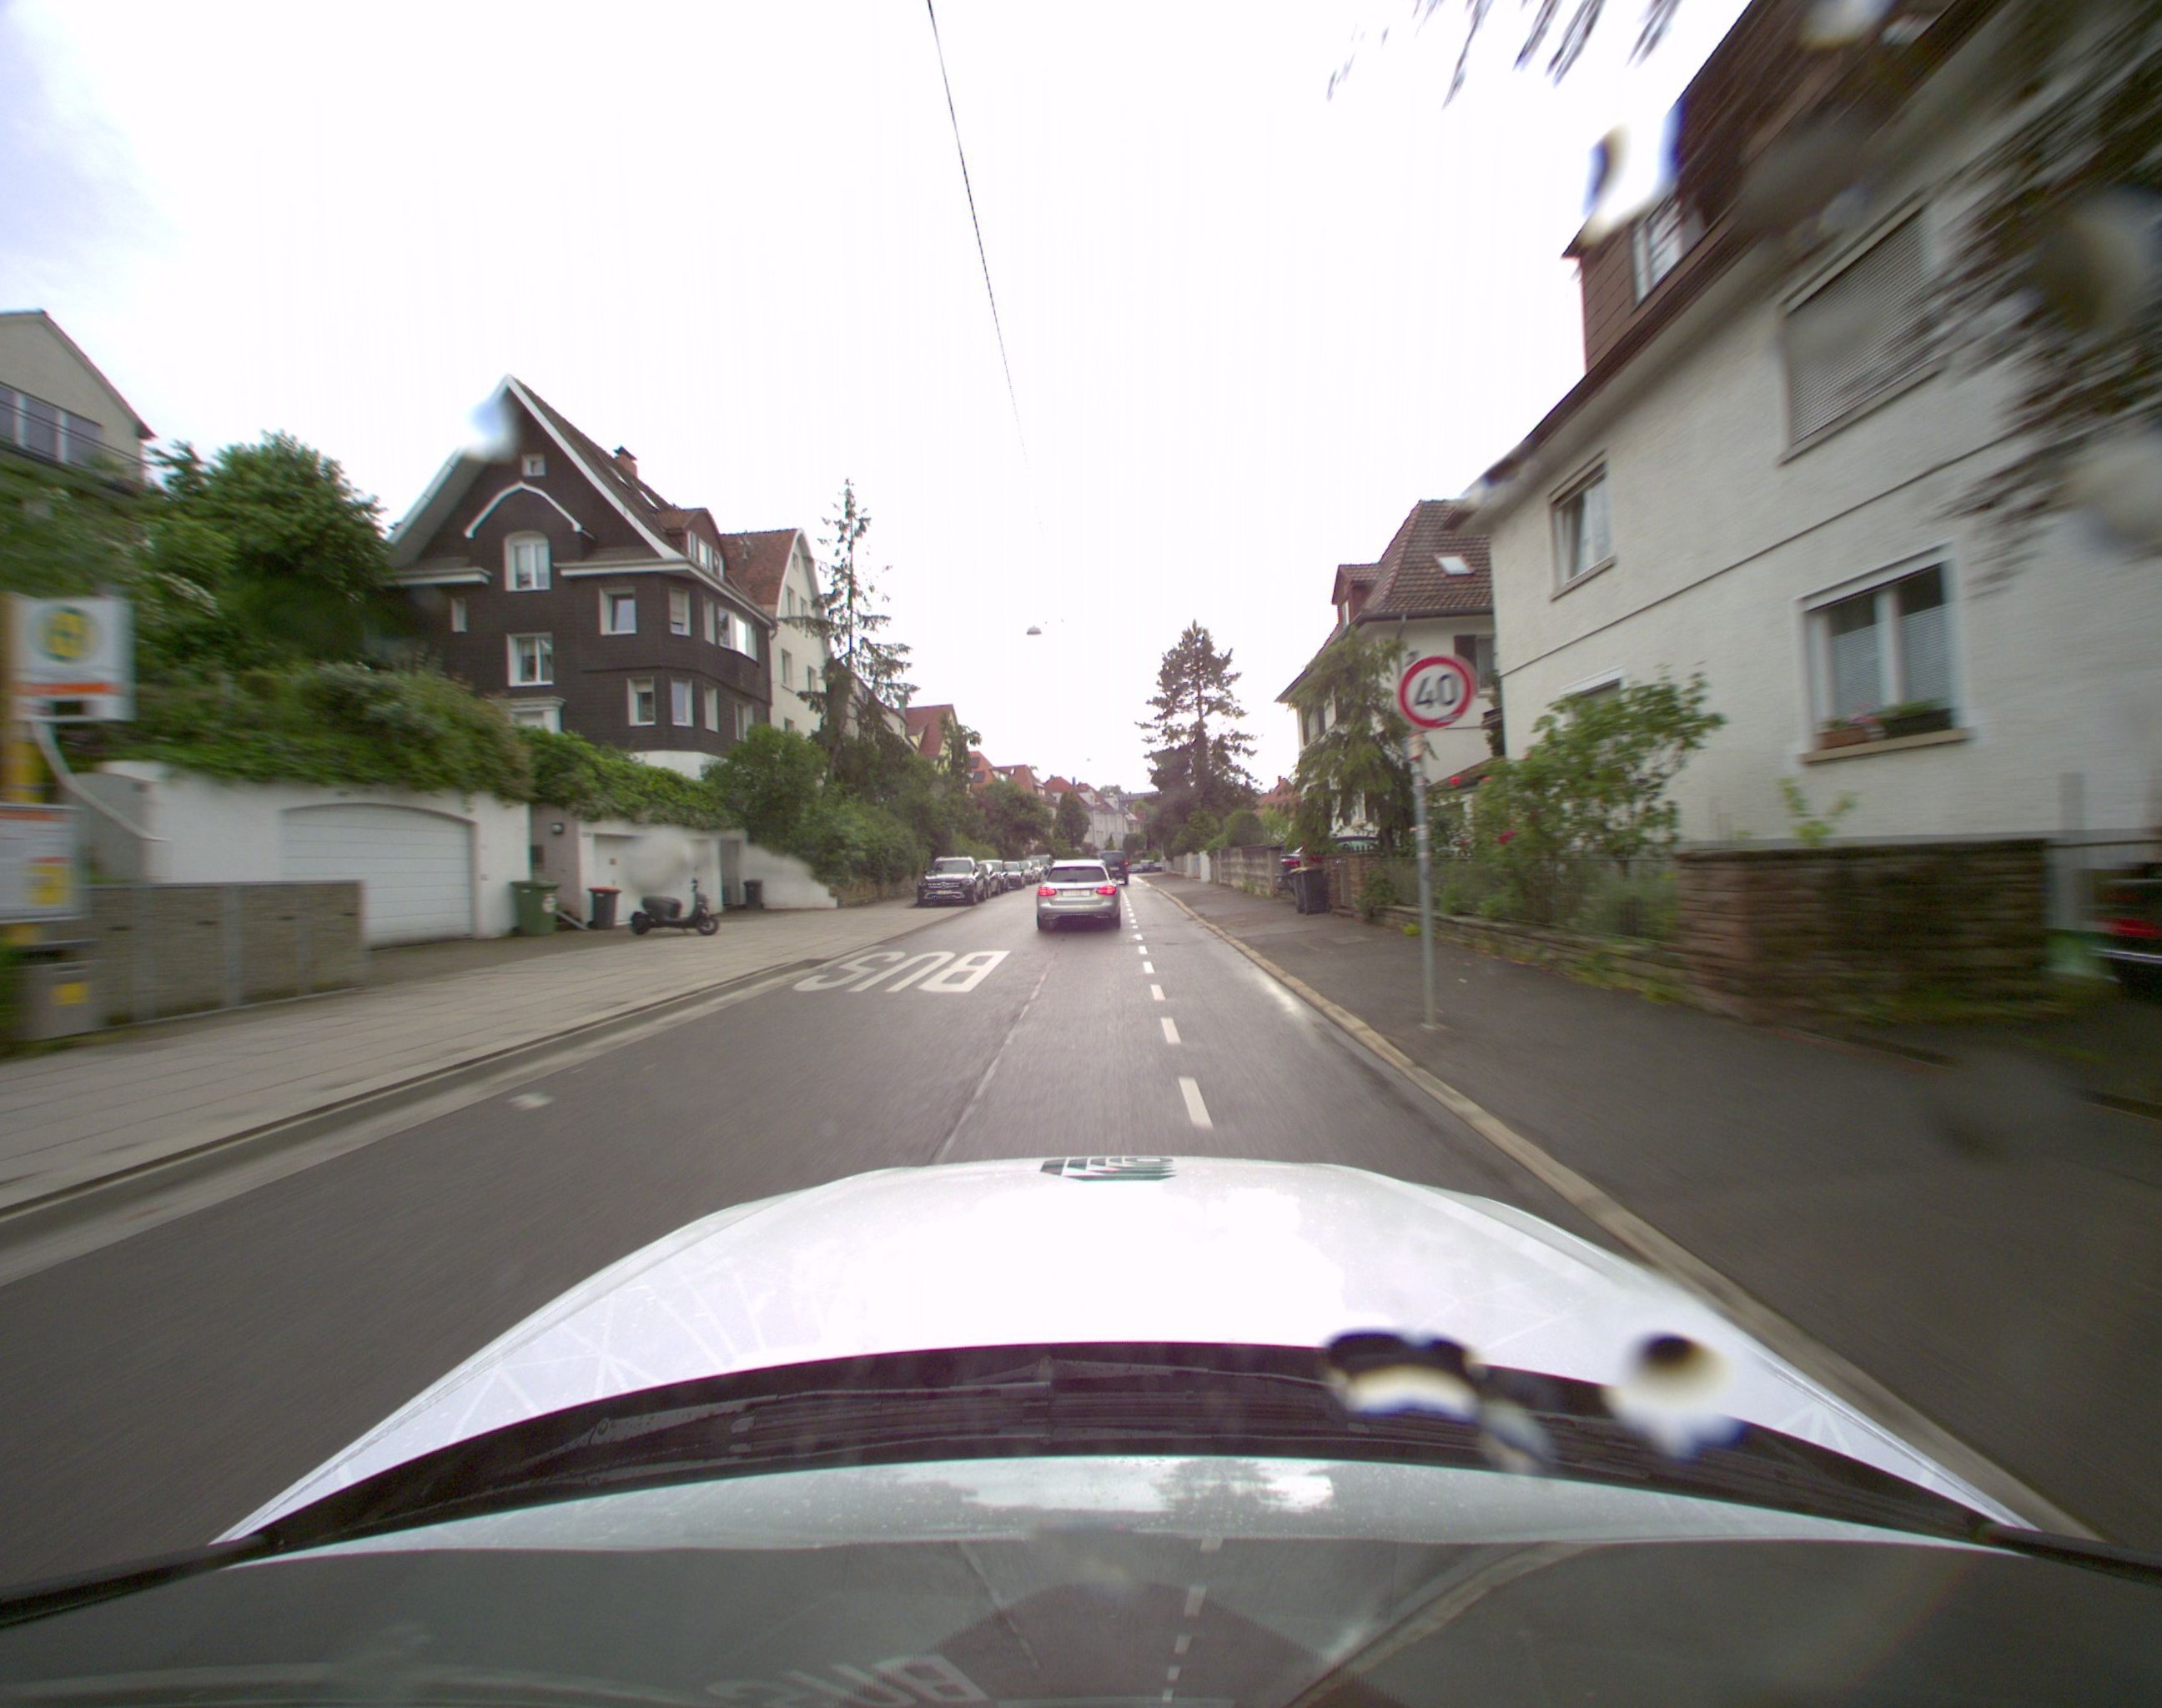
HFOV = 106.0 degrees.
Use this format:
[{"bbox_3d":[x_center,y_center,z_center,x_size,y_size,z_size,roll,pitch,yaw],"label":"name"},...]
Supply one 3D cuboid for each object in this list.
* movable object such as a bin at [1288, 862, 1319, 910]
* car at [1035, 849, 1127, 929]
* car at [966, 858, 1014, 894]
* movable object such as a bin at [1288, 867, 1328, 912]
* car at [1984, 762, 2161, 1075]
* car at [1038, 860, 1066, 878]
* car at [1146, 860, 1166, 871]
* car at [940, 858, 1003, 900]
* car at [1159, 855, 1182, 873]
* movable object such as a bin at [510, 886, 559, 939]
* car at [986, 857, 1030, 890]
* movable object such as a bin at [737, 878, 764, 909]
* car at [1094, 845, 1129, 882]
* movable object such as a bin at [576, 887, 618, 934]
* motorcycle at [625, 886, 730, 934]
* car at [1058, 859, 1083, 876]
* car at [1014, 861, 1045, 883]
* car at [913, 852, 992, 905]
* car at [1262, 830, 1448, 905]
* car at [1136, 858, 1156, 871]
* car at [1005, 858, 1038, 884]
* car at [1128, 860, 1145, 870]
[{"bbox_3d":[4.645,0.655,17.052,0.492,0.955,0.503,-2,1,0],"label":"movable object such as a bin"},{"bbox_3d":[-0.006,0.712,18.268,1.811,1.556,3.999,-1,0,-1],"label":"car"},{"bbox_3d":[-4.181,0.970,37.886,1.690,1.541,3.815,-2,0,1],"label":"car"},{"bbox_3d":[4.603,0.710,16.512,0.649,0.855,0.503,-2,1,0],"label":"movable object such as a bin"},{"bbox_3d":[7.173,0.220,3.479,4.127,1.486,1.979,-2,-4,5],"label":"car"},{"bbox_3d":[-2.618,1.332,74.654,1.984,1.580,4.767,1,0,5],"label":"car"},{"bbox_3d":[12.639,1.933,136.463,1.976,1.688,4.703,-1,1,23],"label":"car"},{"bbox_3d":[-4.413,0.973,33.344,1.886,1.446,3.815,-2,1,1],"label":"car"},{"bbox_3d":[15.824,1.747,143.540,2.370,2.772,6.567,-1,1,22],"label":"car"},{"bbox_3d":[-10.517,1.116,15.690,0.572,0.953,0.512,-2,1,-3],"label":"movable object such as a bin"},{"bbox_3d":[-3.780,0.986,42.677,1.749,1.446,4.418,-2,1,1],"label":"car"},{"bbox_3d":[-10.273,1.224,25.326,0.625,0.889,0.482,-3,2,-43],"label":"movable object such as a bin"},{"bbox_3d":[1.749,0.534,45.373,1.835,1.904,4.003,-1,-1,3],"label":"car"},{"bbox_3d":[-10.434,1.203,17.560,0.572,0.953,0.512,-2,1,-3],"label":"movable object such as a bin"},{"bbox_3d":[-8.045,1.108,16.279,1.787,0.903,0.603,0,-1,1],"label":"motorcycle"},{"bbox_3d":[-1.081,1.402,86.524,1.983,1.702,4.747,0,0,7],"label":"car"},{"bbox_3d":[-3.492,1.200,55.937,1.687,1.447,3.816,-2,-1,3],"label":"car"},{"bbox_3d":[-4.340,0.780,28.136,1.886,1.622,4.380,-2,0,1],"label":"car"},{"bbox_3d":[6.660,0.300,20.144,3.972,1.639,1.919,-2,1,1],"label":"car"},{"bbox_3d":[10.406,1.701,130.313,1.814,2.056,5.034,-1,-1,19],"label":"car"},{"bbox_3d":[-3.662,1.025,50.480,1.640,1.446,3.629,-2,1,1],"label":"car"},{"bbox_3d":[8.499,1.619,124.949,1.631,1.417,4.633,-1,0,17],"label":"car"}]
